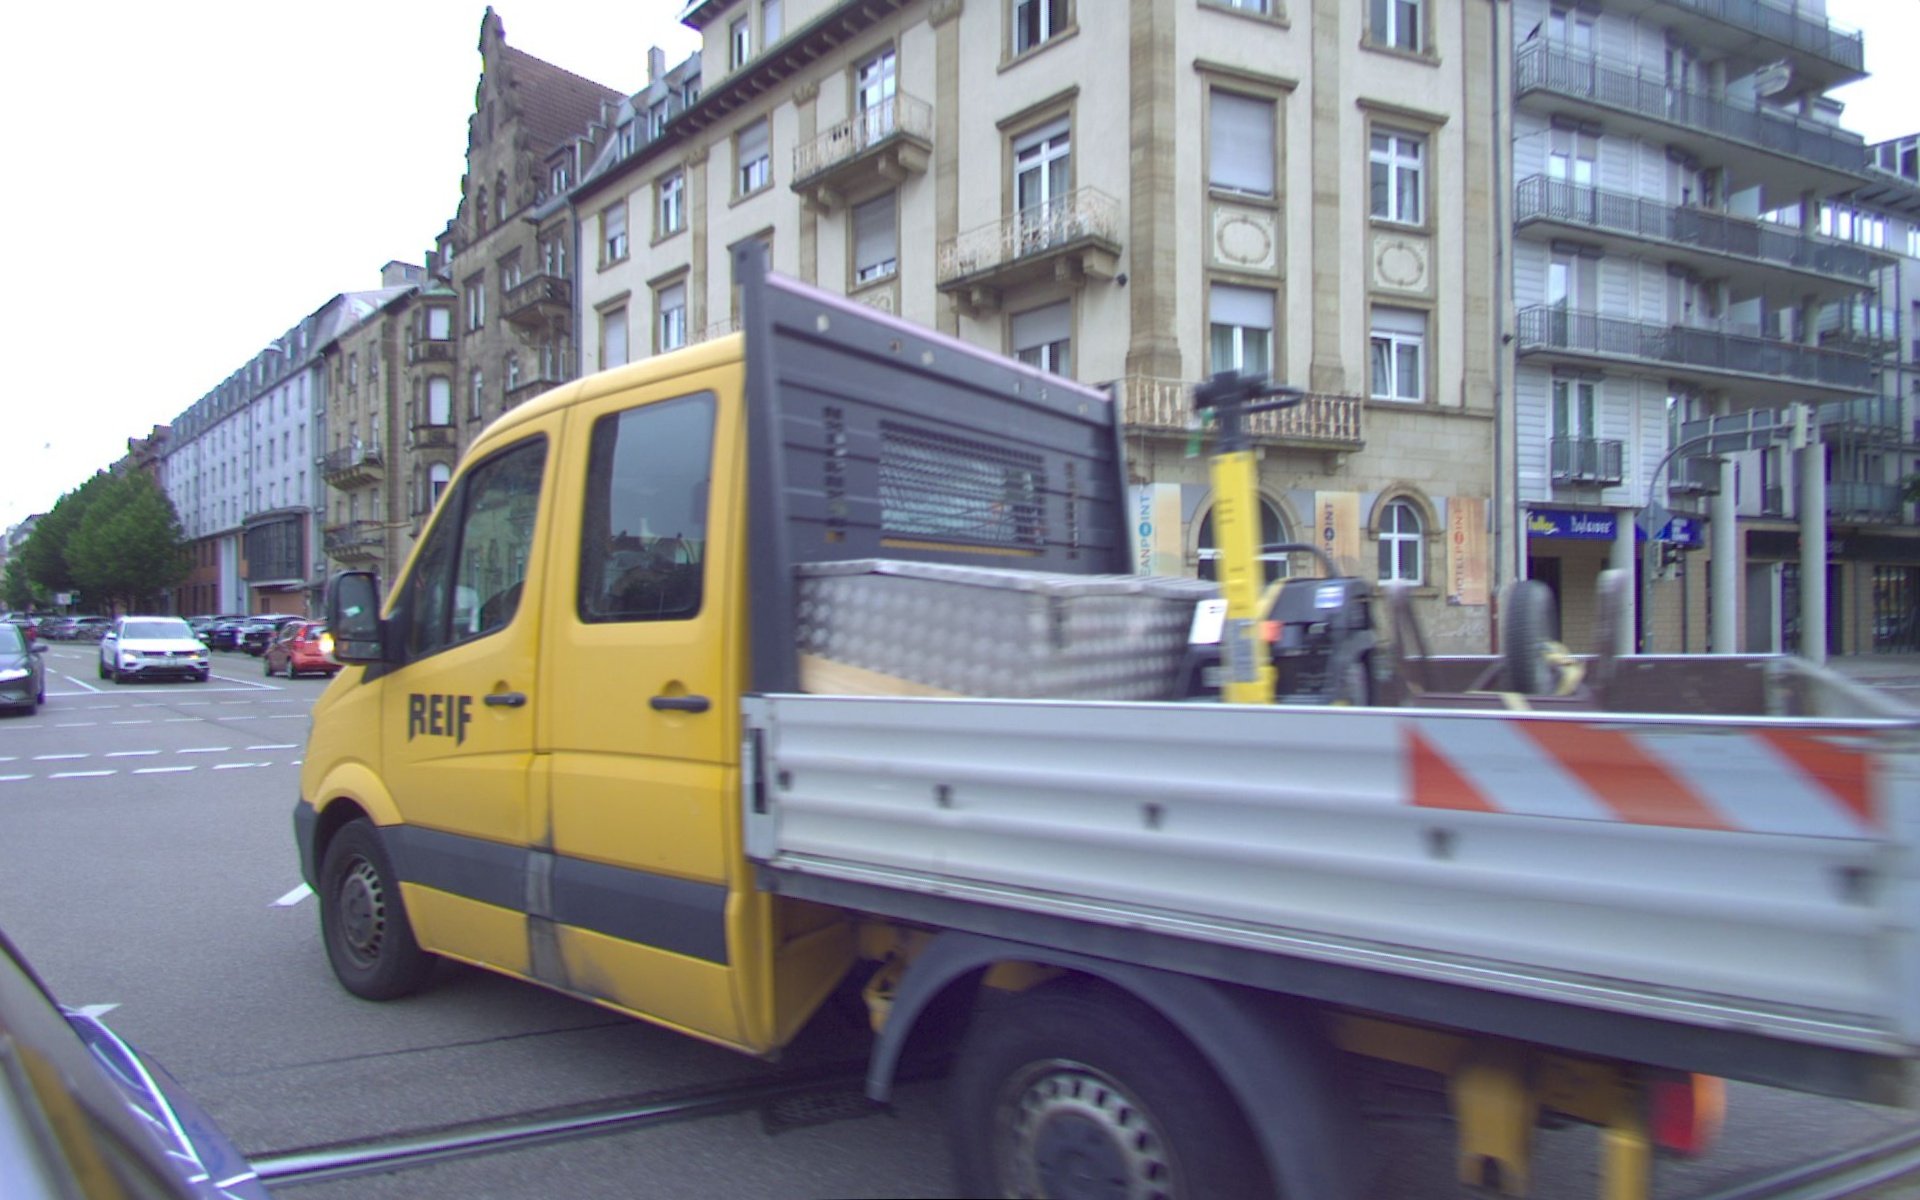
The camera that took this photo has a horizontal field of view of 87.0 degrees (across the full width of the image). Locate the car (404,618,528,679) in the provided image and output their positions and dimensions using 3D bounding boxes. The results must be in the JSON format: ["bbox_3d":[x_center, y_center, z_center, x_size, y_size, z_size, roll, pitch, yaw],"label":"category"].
[{"bbox_3d":[-14.316,1.362,29.581,1.543,1.483,3.998,-2,1,2],"label":"car"}]

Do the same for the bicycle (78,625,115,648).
[{"bbox_3d":[-51.871,2.190,60.810,0.416,1.299,1.608,-1,0,43],"label":"bicycle"}]

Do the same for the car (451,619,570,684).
[{"bbox_3d":[-12.143,1.333,27.590,1.659,1.483,4.004,-2,0,-4],"label":"car"}]

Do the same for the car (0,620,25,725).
[{"bbox_3d":[-17.419,1.199,17.402,4.002,1.698,1.794,-1,-2,45],"label":"car"}]

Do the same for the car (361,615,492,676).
[{"bbox_3d":[-16.313,1.350,31.199,1.708,1.664,4.223,-1,0,2],"label":"car"}]

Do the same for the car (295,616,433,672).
[{"bbox_3d":[-20.942,1.502,35.726,1.827,1.736,3.974,-1,0,20],"label":"car"}]

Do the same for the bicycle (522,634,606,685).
[{"bbox_3d":[-9.912,1.475,25.358,1.864,1.043,0.443,-6,3,-42],"label":"bicycle"}]

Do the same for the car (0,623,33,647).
[{"bbox_3d":[-59.721,2.190,63.868,3.513,1.458,1.630,-1,-1,45],"label":"car"}]

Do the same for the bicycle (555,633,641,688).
[{"bbox_3d":[-8.525,1.409,23.897,0.442,1.043,1.867,-2,4,42],"label":"bicycle"}]

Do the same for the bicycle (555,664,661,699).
[{"bbox_3d":[-7.541,1.727,21.719,1.029,0.448,1.867,-3,3,43],"label":"bicycle"}]

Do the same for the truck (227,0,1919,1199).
[{"bbox_3d":[-0.318,0.300,3.500,5.452,2.426,2.056,-1,-2,37],"label":"truck"}]

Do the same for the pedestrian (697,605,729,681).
[{"bbox_3d":[-6.526,1.136,26.751,0.612,1.973,0.551,1,-2,-44],"label":"pedestrian"}]

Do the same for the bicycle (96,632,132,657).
[{"bbox_3d":[-50.861,2.665,60.822,0.416,1.363,1.608,-1,0,43],"label":"bicycle"}]

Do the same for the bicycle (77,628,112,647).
[{"bbox_3d":[-54.276,2.353,63.469,0.416,1.082,1.608,-1,0,43],"label":"bicycle"}]

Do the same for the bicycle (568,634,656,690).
[{"bbox_3d":[-8.049,1.418,23.473,0.442,1.043,1.867,-2,4,42],"label":"bicycle"}]

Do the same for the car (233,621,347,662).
[{"bbox_3d":[-27.352,1.673,41.493,1.642,1.428,3.989,-1,1,9],"label":"car"}]

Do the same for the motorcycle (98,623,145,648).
[{"bbox_3d":[-49.762,2.117,60.071,0.599,1.363,2.094,-1,0,45],"label":"motorcycle"}]

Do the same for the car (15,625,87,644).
[{"bbox_3d":[-72.782,2.738,81.119,1.726,1.508,3.971,-1,-1,21],"label":"car"}]

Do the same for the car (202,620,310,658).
[{"bbox_3d":[-31.789,1.744,45.844,1.806,1.456,3.732,-2,1,14],"label":"car"}]

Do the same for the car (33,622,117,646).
[{"bbox_3d":[-61.630,2.355,70.568,1.986,1.641,3.971,-1,-1,21],"label":"car"}]

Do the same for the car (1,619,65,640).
[{"bbox_3d":[-86.836,2.772,94.888,1.986,1.923,3.971,-1,-1,21],"label":"car"}]

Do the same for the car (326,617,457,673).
[{"bbox_3d":[-18.762,1.442,33.601,1.711,1.505,3.992,-2,1,7],"label":"car"}]

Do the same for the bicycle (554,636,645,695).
[{"bbox_3d":[-8.052,1.444,22.689,0.442,1.043,1.867,-2,4,42],"label":"bicycle"}]

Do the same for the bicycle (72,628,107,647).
[{"bbox_3d":[-54.755,2.358,63.677,0.416,1.082,1.608,-1,0,43],"label":"bicycle"}]

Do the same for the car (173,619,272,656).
[{"bbox_3d":[-36.094,1.805,49.681,1.711,1.565,3.994,-2,1,5],"label":"car"}]

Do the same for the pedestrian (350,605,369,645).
[{"bbox_3d":[-28.127,1.170,47.375,0.642,1.837,0.613,-1,-2,45],"label":"pedestrian"}]

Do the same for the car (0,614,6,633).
[{"bbox_3d":[-92.396,2.264,96.586,4.129,1.817,1.675,-1,-2,42],"label":"car"}]

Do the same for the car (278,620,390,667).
[{"bbox_3d":[-23.291,1.588,37.804,1.550,1.508,3.806,-1,1,6],"label":"car"}]

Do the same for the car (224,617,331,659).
[{"bbox_3d":[-29.708,1.610,44.218,1.683,1.565,3.993,-2,1,6],"label":"car"}]

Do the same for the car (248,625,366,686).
[{"bbox_3d":[-18.097,1.470,27.990,3.998,1.536,1.714,-1,-1,41],"label":"car"}]

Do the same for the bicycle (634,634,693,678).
[{"bbox_3d":[-7.260,1.348,24.711,0.496,1.035,1.998,1,-1,-45],"label":"bicycle"}]

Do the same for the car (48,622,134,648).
[{"bbox_3d":[-57.204,2.292,66.689,1.760,1.641,3.971,-1,-1,21],"label":"car"}]

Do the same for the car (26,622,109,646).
[{"bbox_3d":[-63.746,2.380,72.365,1.986,1.641,3.971,-1,-1,21],"label":"car"}]

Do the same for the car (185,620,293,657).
[{"bbox_3d":[-33.833,1.784,47.614,1.715,1.449,3.985,-2,1,12],"label":"car"}]

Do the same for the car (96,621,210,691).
[{"bbox_3d":[-20.700,1.355,25.889,1.884,1.619,4.254,1,-1,-44],"label":"car"}]

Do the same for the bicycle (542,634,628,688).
[{"bbox_3d":[-9.007,1.439,24.351,0.442,1.043,1.867,-2,4,42],"label":"bicycle"}]

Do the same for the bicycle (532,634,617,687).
[{"bbox_3d":[-9.396,1.464,24.719,0.442,1.043,1.867,-2,4,42],"label":"bicycle"}]
